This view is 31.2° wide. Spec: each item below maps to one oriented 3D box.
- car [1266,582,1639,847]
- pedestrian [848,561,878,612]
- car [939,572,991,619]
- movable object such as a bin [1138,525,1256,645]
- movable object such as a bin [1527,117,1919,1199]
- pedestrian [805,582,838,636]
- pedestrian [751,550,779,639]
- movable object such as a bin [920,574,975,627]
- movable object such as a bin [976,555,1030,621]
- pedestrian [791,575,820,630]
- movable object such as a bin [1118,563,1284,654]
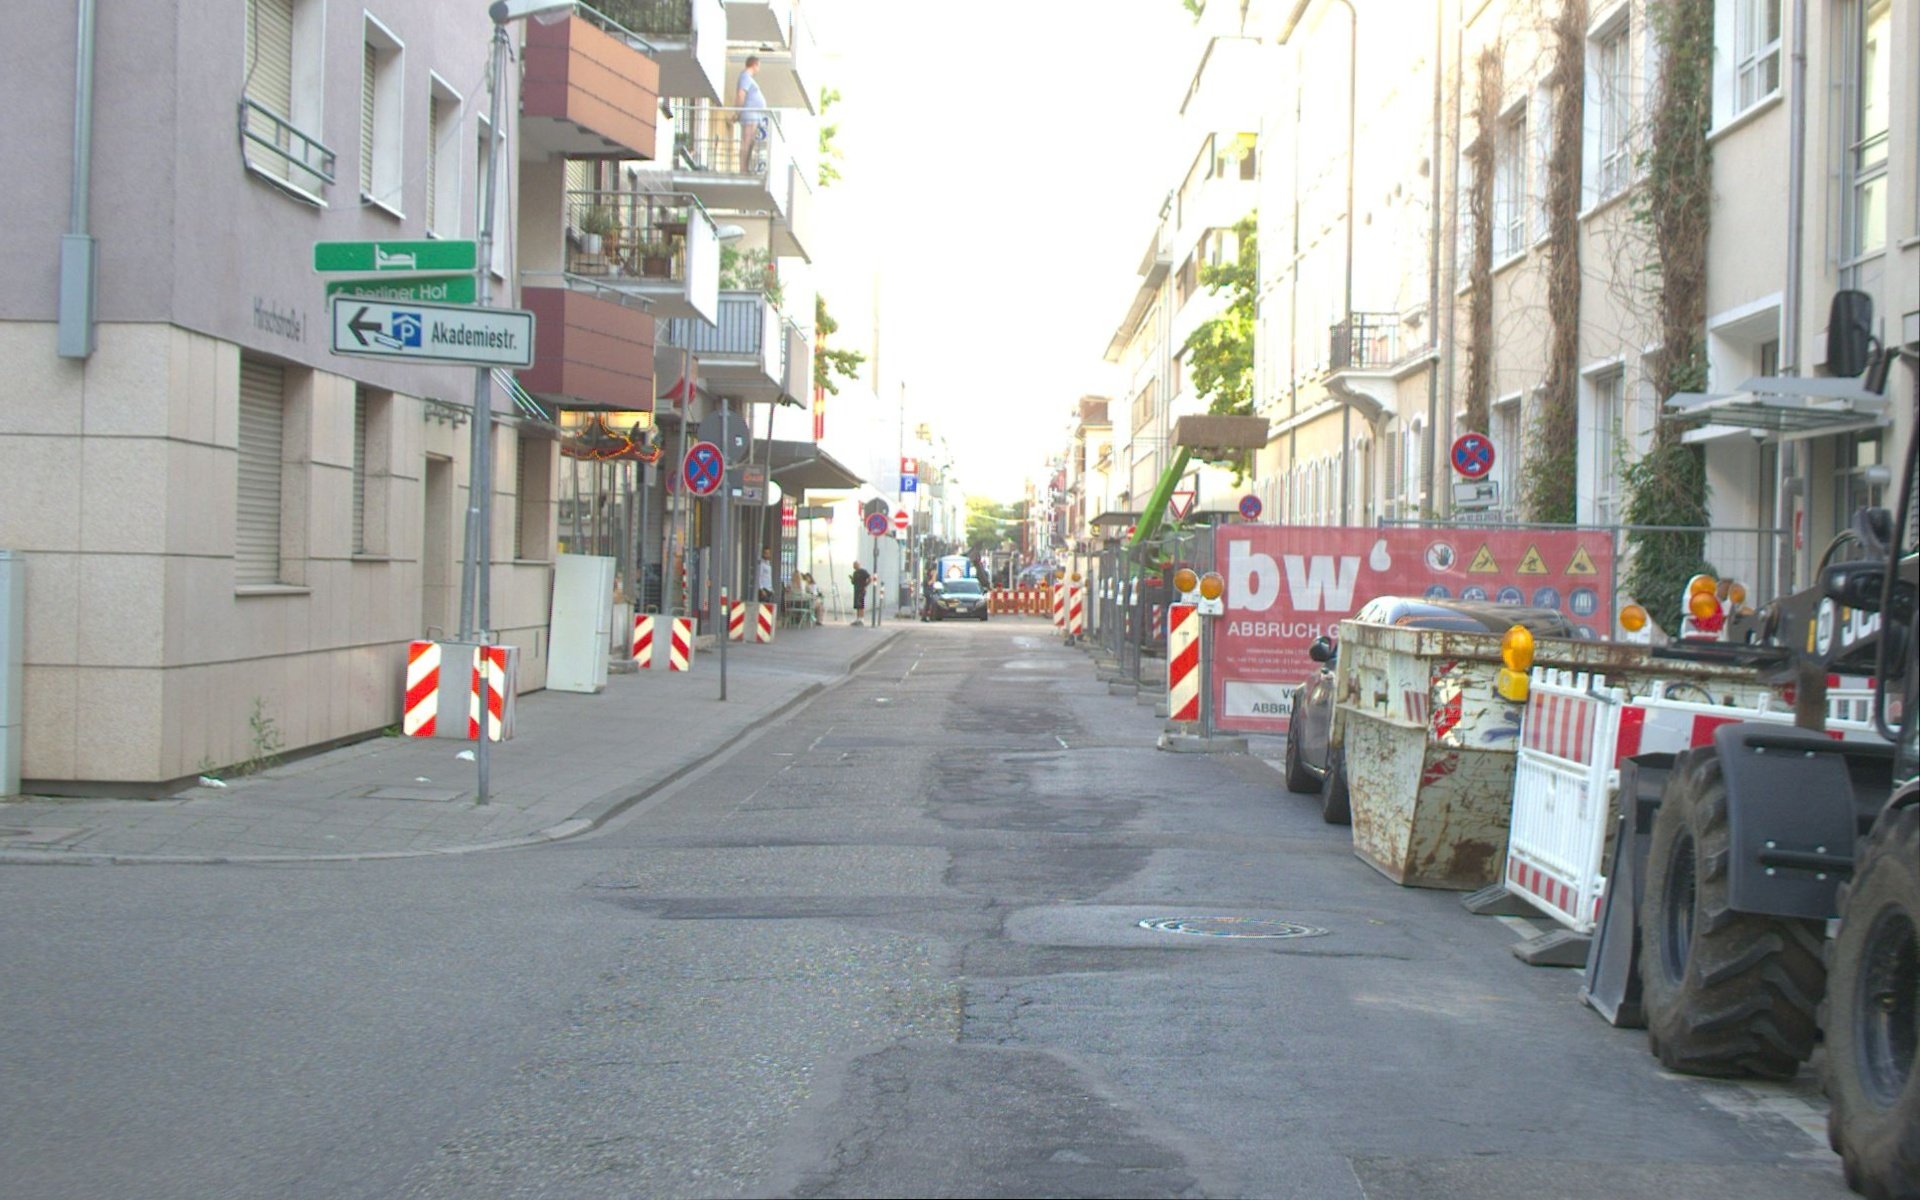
[{"bbox_3d":[3.142,0.672,22.761,1.787,1.466,4.446,3,0,1],"label":"car"},{"bbox_3d":[-2.470,-0.354,87.844,0.702,1.271,0.713,2,0,1],"label":"pedestrian"},{"bbox_3d":[0.169,-0.162,117.575,1.629,1.545,3.142,1,0,-3],"label":"car"},{"bbox_3d":[5.746,-0.375,83.749,2.605,2.829,4.450,1,0,1],"label":"movable object such as a bin"},{"bbox_3d":[3.150,0.233,9.935,2.016,2.614,5.751,4,1,1],"label":"movable object such as a bin"},{"bbox_3d":[-3.376,0.217,83.764,0.702,1.271,0.713,3,0,1],"label":"pedestrian"},{"bbox_3d":[-4.030,-0.114,71.011,0.530,1.828,0.563,1,1,-5],"label":"pedestrian"},{"bbox_3d":[-0.475,0.008,132.834,1.993,2.007,4.000,1,0,1],"label":"movable object such as a bin"},{"bbox_3d":[1.792,-0.496,142.900,2.156,2.654,4.572,1,0,0],"label":"movable object such as a bin"},{"bbox_3d":[-3.650,0.052,81.452,0.573,1.271,0.713,3,0,1],"label":"pedestrian"},{"bbox_3d":[4.782,0.140,69.455,2.736,1.633,7.553,2,0,0],"label":"movable object such as a bin"}]
